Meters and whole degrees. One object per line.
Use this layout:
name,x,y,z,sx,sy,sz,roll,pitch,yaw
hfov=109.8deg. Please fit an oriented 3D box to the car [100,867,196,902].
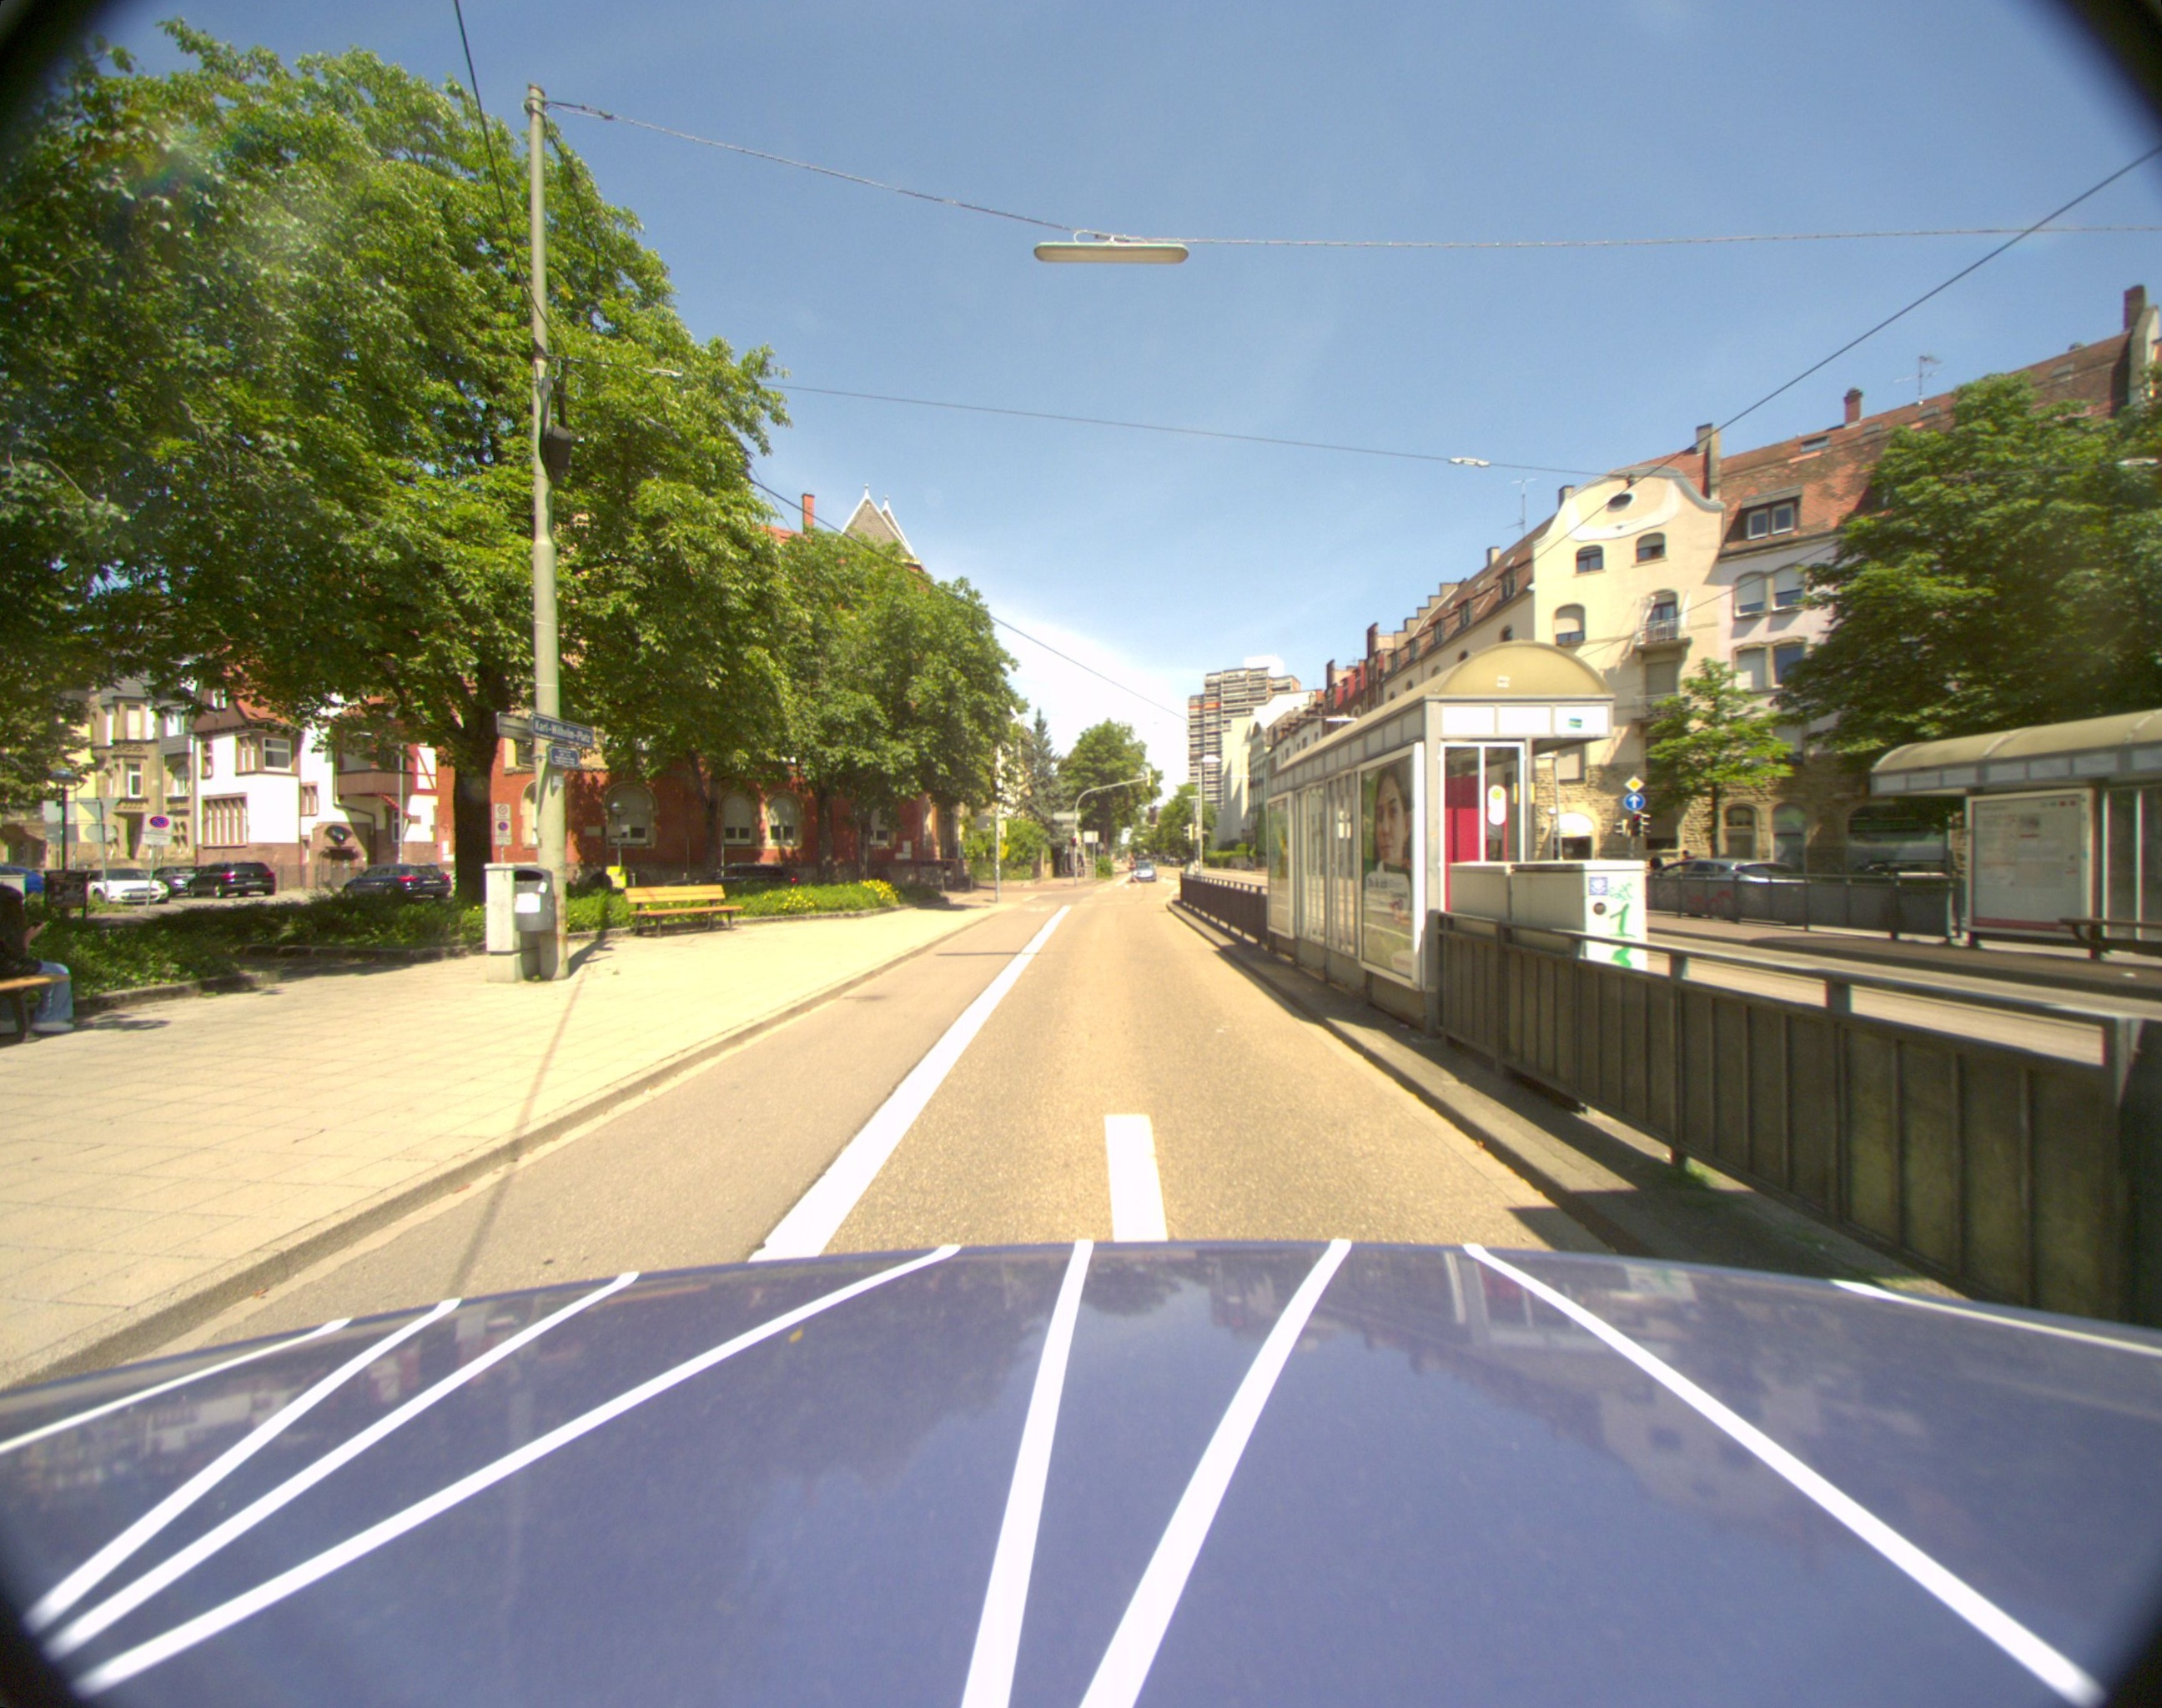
car,-48.423,1.574,39.430,4.299,1.608,1.941,-2,1,23

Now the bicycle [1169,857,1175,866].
bicycle,16.839,1.410,140.503,0.644,1.503,1.970,-2,1,-2

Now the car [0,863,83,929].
car,-32.844,1.302,22.023,1.934,1.869,4.315,-2,1,23

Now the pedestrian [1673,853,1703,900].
pedestrian,20.296,0.751,25.407,0.594,1.542,0.474,0,0,-1

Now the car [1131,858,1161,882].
car,4.361,1.043,50.949,1.895,1.372,4.001,-2,1,5

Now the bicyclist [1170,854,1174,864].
bicyclist,16.810,0.897,140.485,0.644,1.864,0.716,-2,1,-2

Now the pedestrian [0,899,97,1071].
pedestrian,-7.744,0.912,5.413,0.566,1.136,0.725,0,1,-16

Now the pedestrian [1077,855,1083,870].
pedestrian,-0.084,0.887,84.146,0.702,1.645,0.665,0,0,1

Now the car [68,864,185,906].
car,-36.193,1.154,28.825,3.644,1.497,1.708,-1,0,21

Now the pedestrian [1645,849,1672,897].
pedestrian,20.119,0.649,26.468,0.594,1.637,0.474,0,0,1

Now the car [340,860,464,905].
car,-27.044,1.135,30.283,4.299,1.608,1.941,-2,1,23

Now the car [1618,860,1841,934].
car,14.837,0.909,17.721,1.812,1.386,3.999,-2,1,1

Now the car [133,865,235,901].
car,-44.149,1.433,37.408,4.299,1.608,1.941,-2,1,23

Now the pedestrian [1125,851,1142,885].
pedestrian,2.840,0.769,41.135,0.838,1.813,0.673,0,0,-2

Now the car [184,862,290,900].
car,-39.590,1.277,35.662,4.299,1.608,1.941,-2,1,23

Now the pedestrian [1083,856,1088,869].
pedestrian,0.663,1.247,111.675,0.686,1.732,0.660,-2,1,3

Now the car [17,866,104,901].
car,-59.178,1.712,44.076,4.299,1.862,1.941,-2,1,23

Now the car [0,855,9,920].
car,-37.660,1.202,23.791,1.934,2.178,4.315,-2,1,23

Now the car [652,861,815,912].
car,-12.317,1.095,27.033,5.042,1.473,1.934,-3,1,-29
